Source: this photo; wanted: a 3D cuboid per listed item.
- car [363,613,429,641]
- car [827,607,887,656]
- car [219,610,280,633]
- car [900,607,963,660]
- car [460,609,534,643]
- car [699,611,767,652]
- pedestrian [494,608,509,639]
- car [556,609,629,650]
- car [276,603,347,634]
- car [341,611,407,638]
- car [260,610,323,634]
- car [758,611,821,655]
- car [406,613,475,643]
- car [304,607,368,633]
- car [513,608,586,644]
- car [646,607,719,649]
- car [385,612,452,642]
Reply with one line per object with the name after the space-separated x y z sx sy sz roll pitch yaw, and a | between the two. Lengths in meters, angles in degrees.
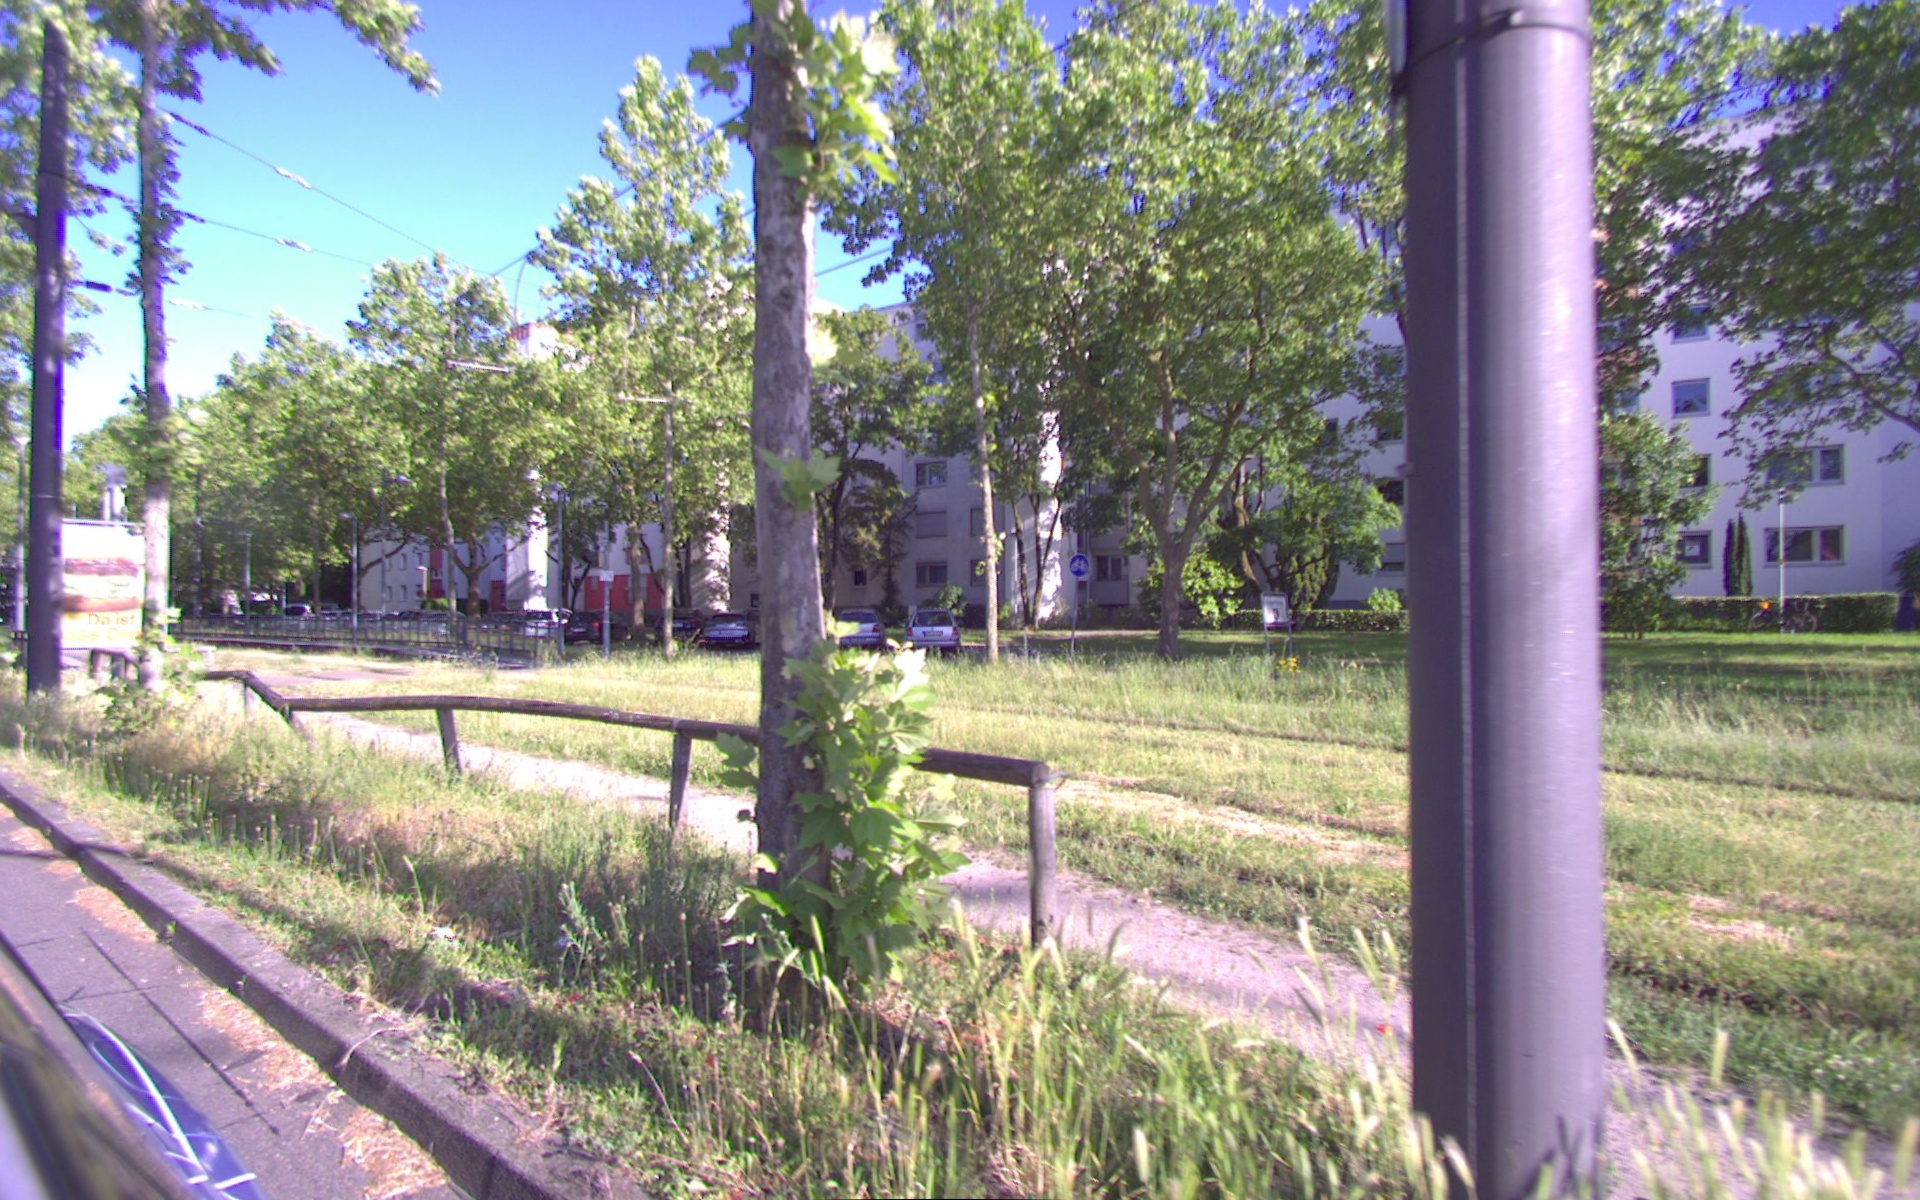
-32.703 1.517 58.792 1.769 1.510 4.053 -1 0 -4 | car
-3.398 1.012 34.066 1.739 1.498 4.051 -1 0 -2 | car
-51.817 1.548 73.911 1.769 1.510 4.053 -1 0 -4 | car
-0.905 0.980 31.218 1.788 1.498 4.051 -1 0 -2 | car
-22.270 1.205 48.832 1.770 1.510 4.050 -1 0 -1 | car
-8.433 1.135 37.886 1.769 1.398 4.051 -1 0 -2 | car
-30.454 1.571 67.236 0.644 2.029 0.673 -1 -1 36 | pedestrian
-16.150 1.250 44.686 1.770 1.676 4.050 -1 0 -1 | car
-42.318 1.199 66.144 1.992 1.933 4.436 -1 0 -4 | car
-34.909 1.416 60.435 1.769 1.510 4.053 -1 0 -4 | car
-44.977 1.458 68.165 1.769 1.510 4.053 -1 0 -4 | car
-5.915 1.128 35.552 1.653 1.398 4.051 -1 0 -2 | car
-27.623 1.459 53.914 1.769 1.510 4.053 -1 0 -4 | car
-39.805 1.258 64.686 1.769 1.510 4.053 -1 0 -4 | car
-18.911 1.176 46.840 1.770 1.510 4.050 -1 0 -1 | car
-10.864 1.071 39.836 1.770 1.510 4.050 -1 0 -1 | car
-30.289 1.480 56.695 1.769 1.510 4.053 -1 0 -4 | car
